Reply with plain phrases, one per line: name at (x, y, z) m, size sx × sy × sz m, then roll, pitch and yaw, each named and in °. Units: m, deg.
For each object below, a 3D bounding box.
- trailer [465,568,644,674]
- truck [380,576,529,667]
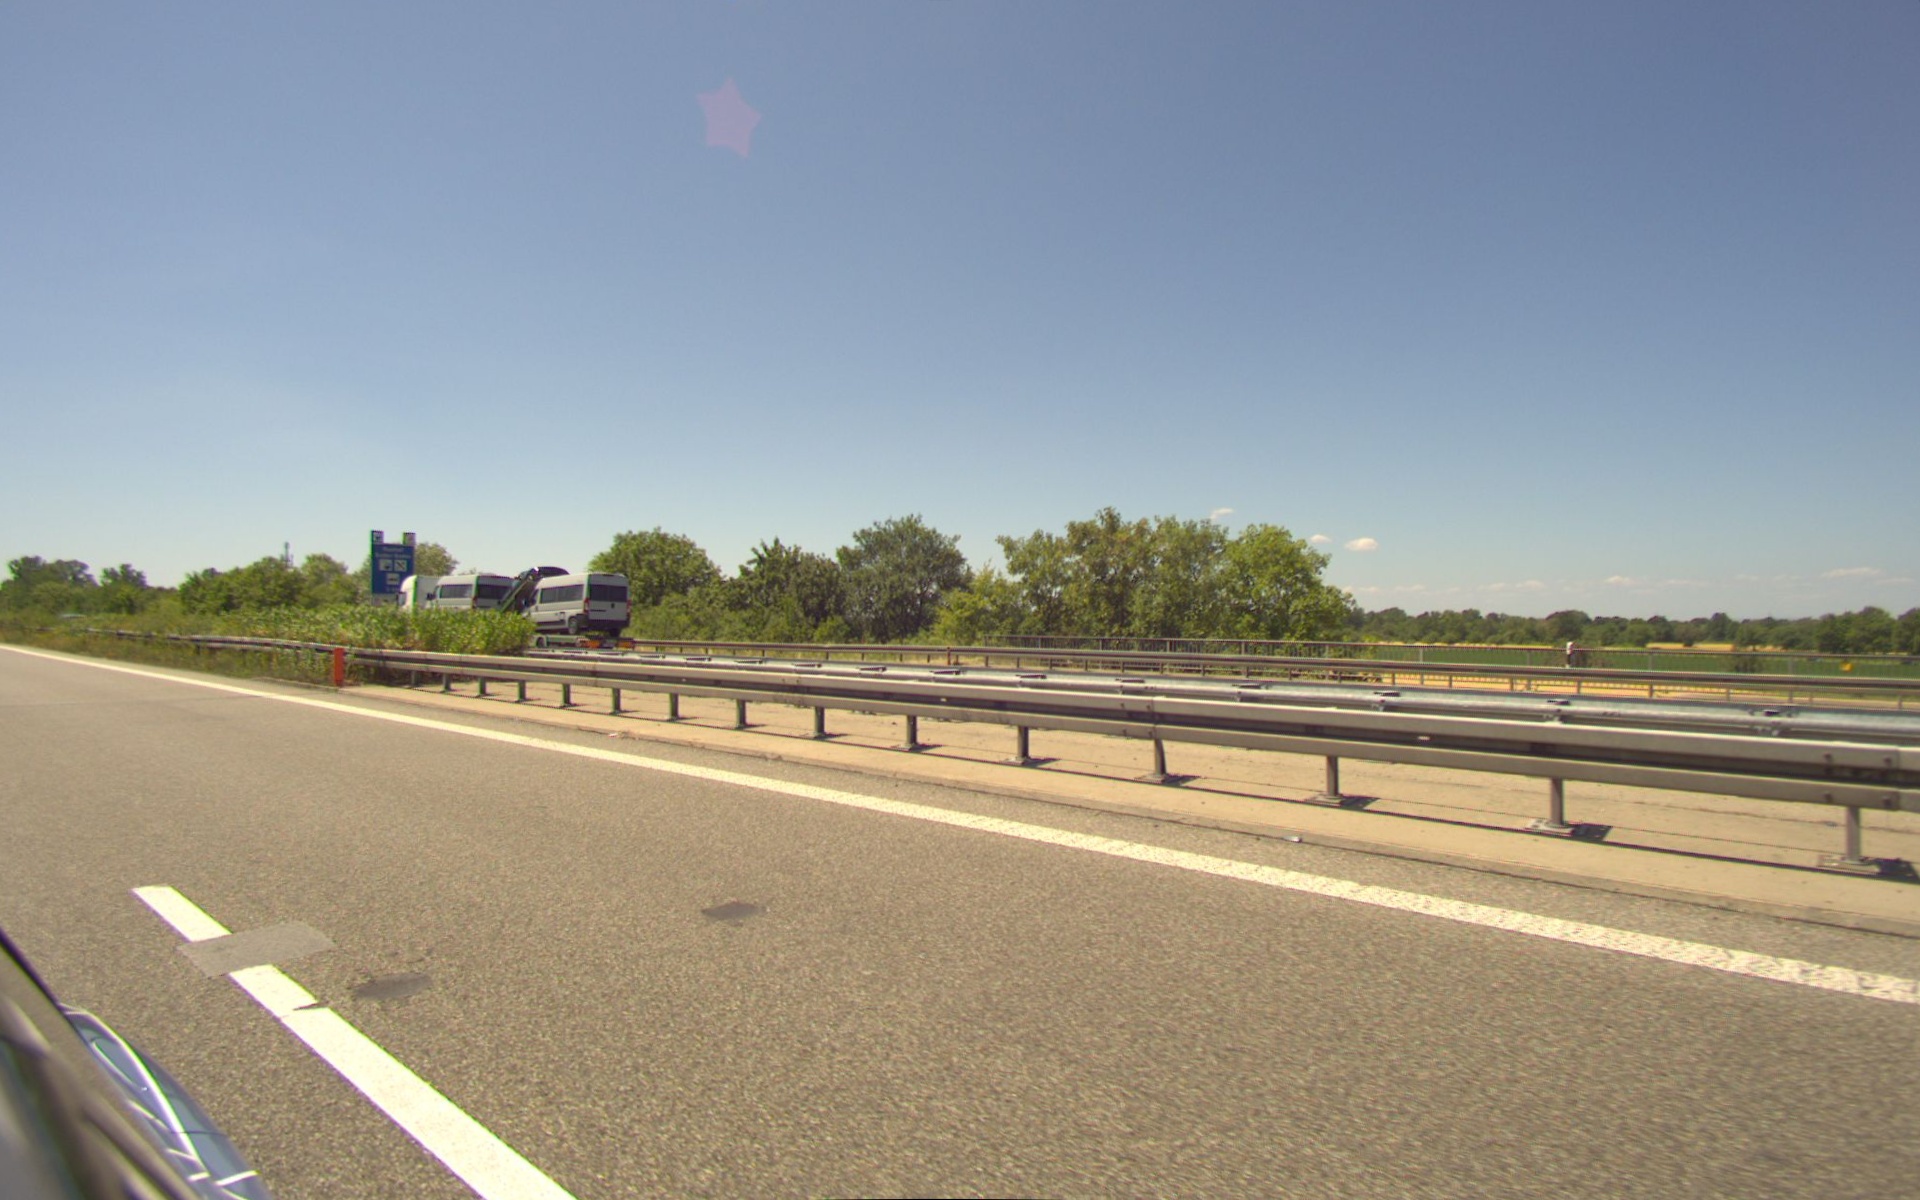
trailer at (-17.278, 0.855, 42.696) m, size 9.653 × 4.020 × 2.895 m, roll -1°, pitch 0°, yaw 41°
truck at (-24.660, 1.006, 49.092) m, size 9.616 × 4.020 × 2.887 m, roll -1°, pitch 0°, yaw 40°
